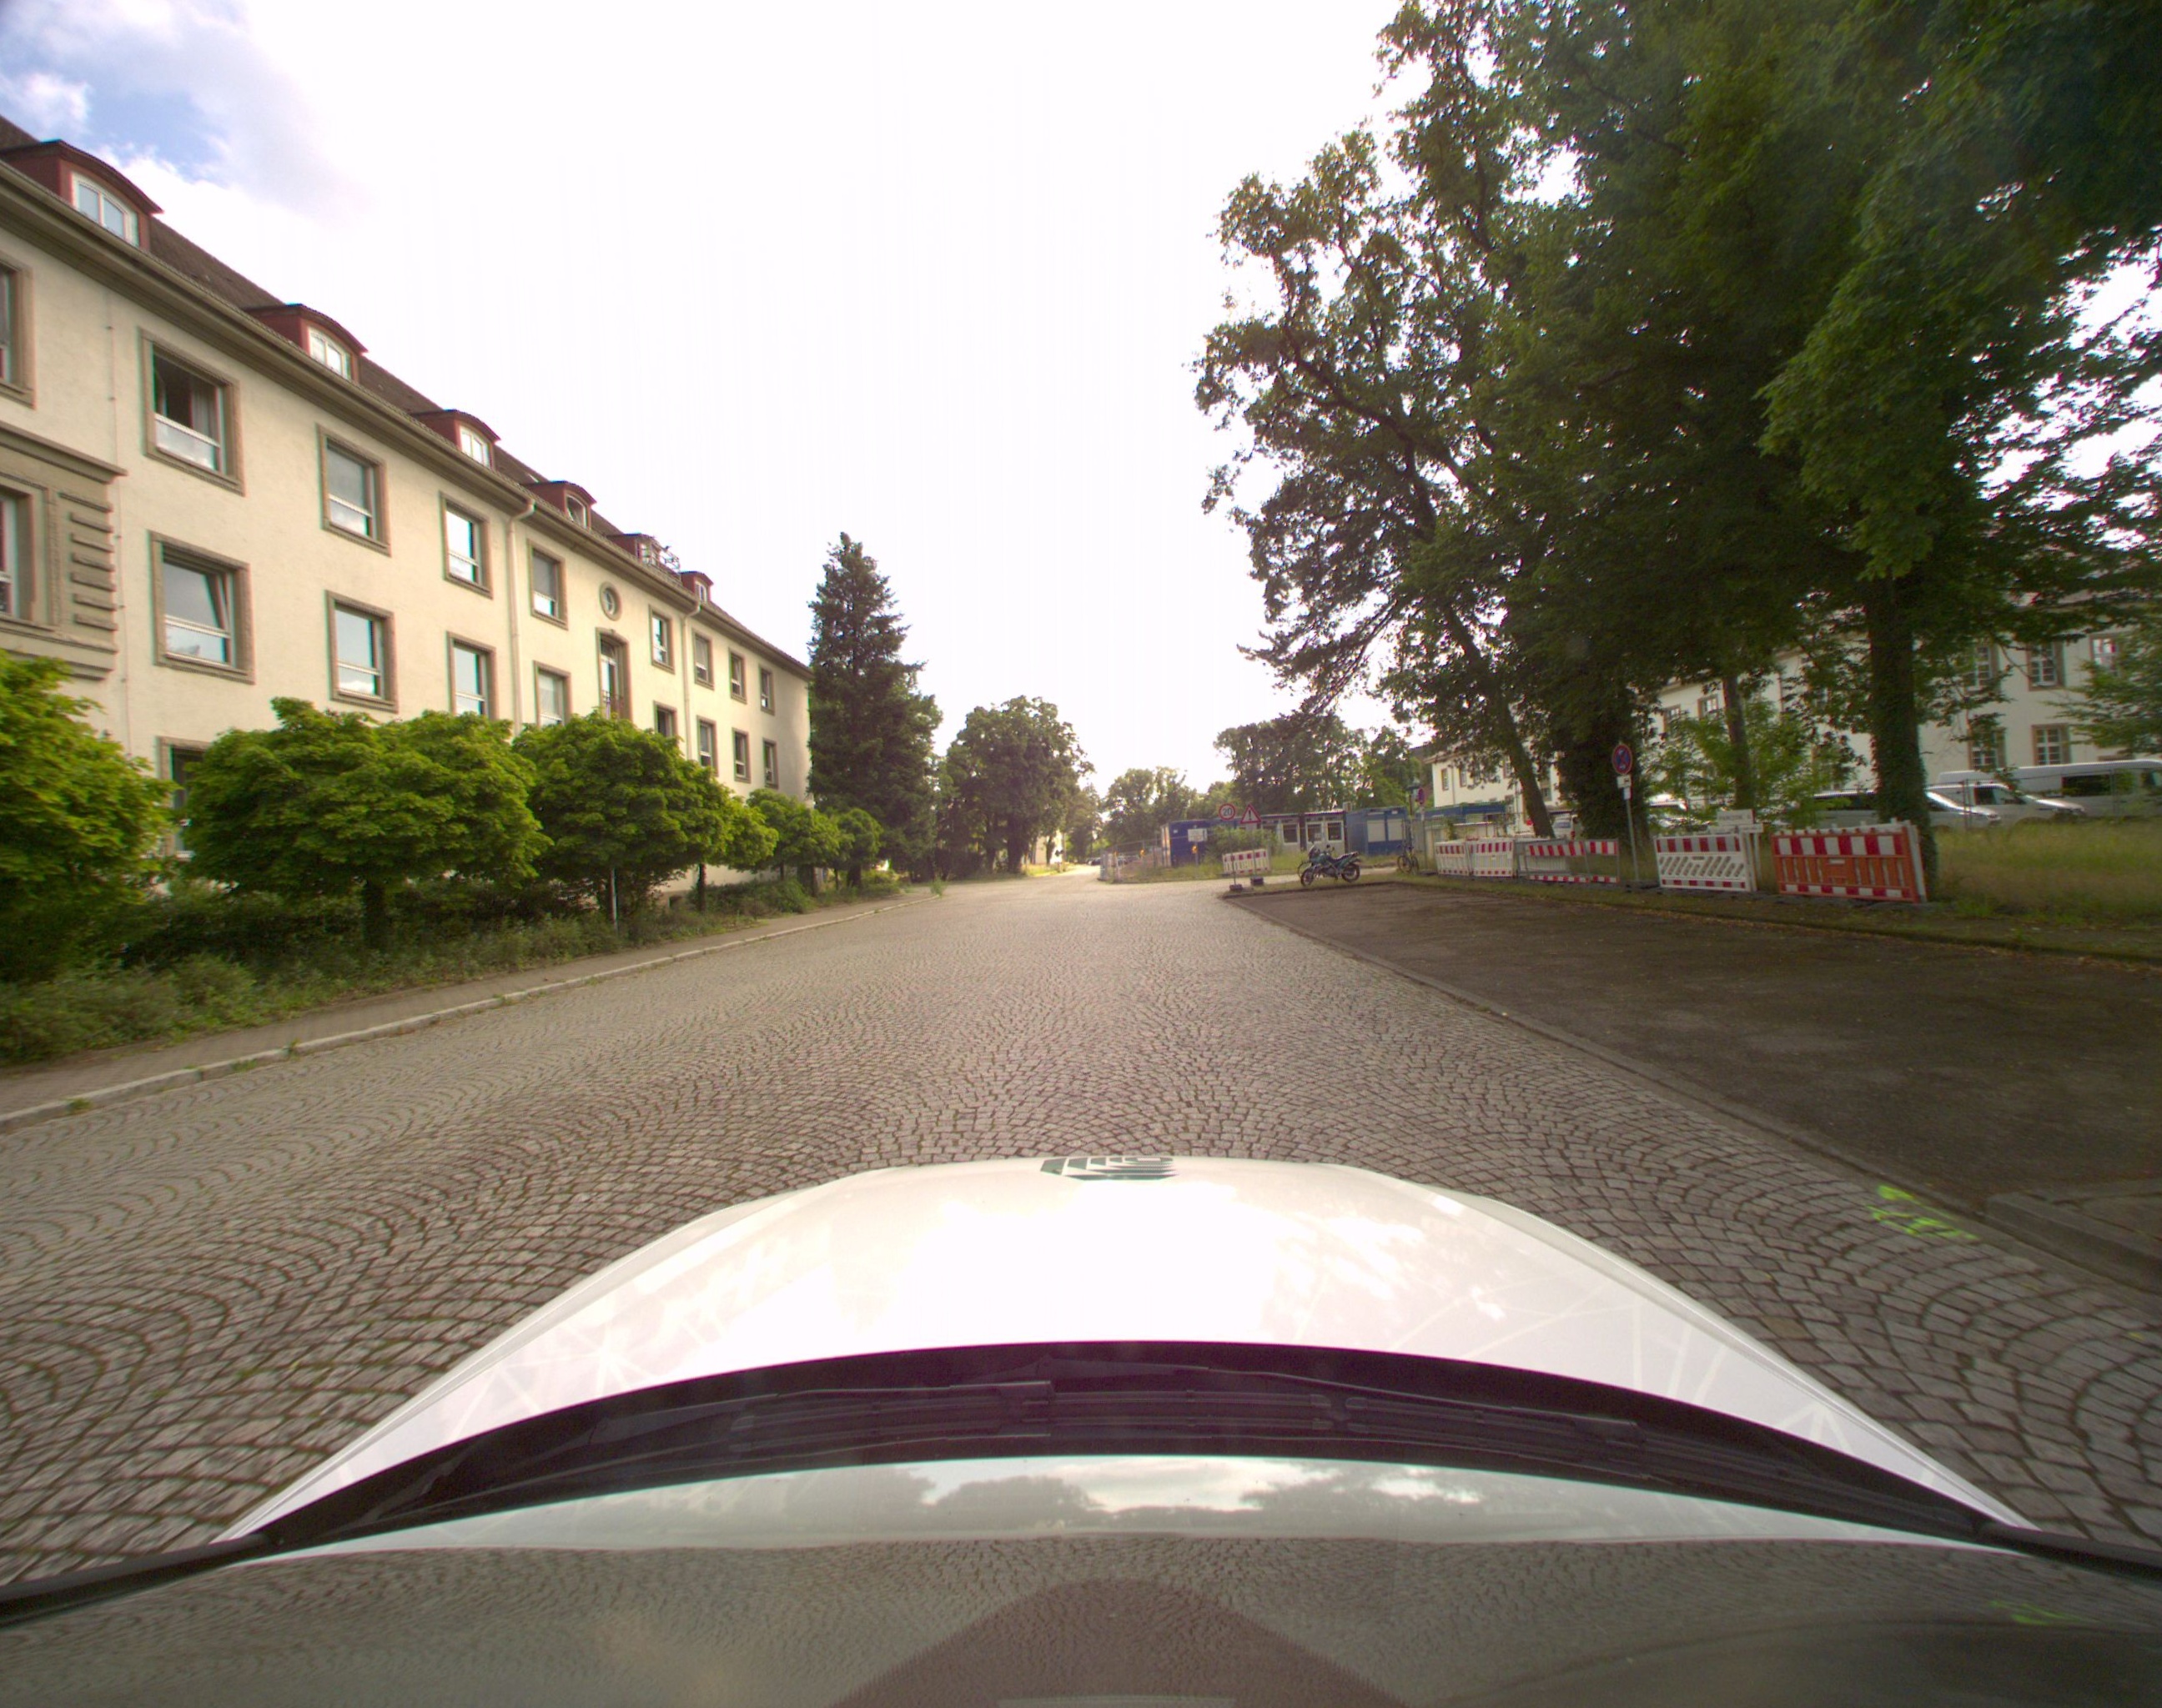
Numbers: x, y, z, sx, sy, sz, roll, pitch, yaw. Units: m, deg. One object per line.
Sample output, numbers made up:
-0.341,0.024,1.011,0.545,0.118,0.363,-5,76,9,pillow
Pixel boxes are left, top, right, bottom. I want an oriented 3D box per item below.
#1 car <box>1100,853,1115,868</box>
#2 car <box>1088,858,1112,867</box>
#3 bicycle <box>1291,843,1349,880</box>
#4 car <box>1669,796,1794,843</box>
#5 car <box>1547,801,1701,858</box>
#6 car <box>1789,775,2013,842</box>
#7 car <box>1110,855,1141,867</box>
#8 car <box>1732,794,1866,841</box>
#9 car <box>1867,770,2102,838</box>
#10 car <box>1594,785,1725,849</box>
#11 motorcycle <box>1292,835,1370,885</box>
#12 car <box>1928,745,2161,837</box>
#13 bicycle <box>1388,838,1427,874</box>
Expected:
3.888,0.957,118.359,1.987,2.014,4.091,-3,-1,0,car
3.990,1.759,170.068,4.771,1.641,1.997,-3,-1,-4,car
8.664,0.277,29.494,1.882,1.197,0.659,-4,0,21,bicycle
29.597,-1.499,37.312,1.985,1.825,4.879,-2,-1,4,car
21.835,-0.979,32.872,4.839,1.920,1.908,-4,1,2,car
27.070,-1.428,27.121,2.003,1.825,4.834,-2,-1,-25,car
6.798,1.062,124.240,4.376,1.510,2.005,-2,-1,9,car
32.668,-1.619,37.278,1.985,1.825,4.879,-2,-1,4,car
29.885,-1.580,27.161,2.003,1.825,4.834,-2,-1,-25,car
26.190,-1.576,37.199,1.985,2.556,5.916,-2,-1,4,car
8.279,0.189,27.008,2.272,1.485,0.756,-4,0,-4,motorcycle
33.065,-2.010,27.137,2.005,2.578,6.364,-2,-1,-28,car
11.380,0.057,28.455,0.639,1.169,1.907,-4,0,4,bicycle
